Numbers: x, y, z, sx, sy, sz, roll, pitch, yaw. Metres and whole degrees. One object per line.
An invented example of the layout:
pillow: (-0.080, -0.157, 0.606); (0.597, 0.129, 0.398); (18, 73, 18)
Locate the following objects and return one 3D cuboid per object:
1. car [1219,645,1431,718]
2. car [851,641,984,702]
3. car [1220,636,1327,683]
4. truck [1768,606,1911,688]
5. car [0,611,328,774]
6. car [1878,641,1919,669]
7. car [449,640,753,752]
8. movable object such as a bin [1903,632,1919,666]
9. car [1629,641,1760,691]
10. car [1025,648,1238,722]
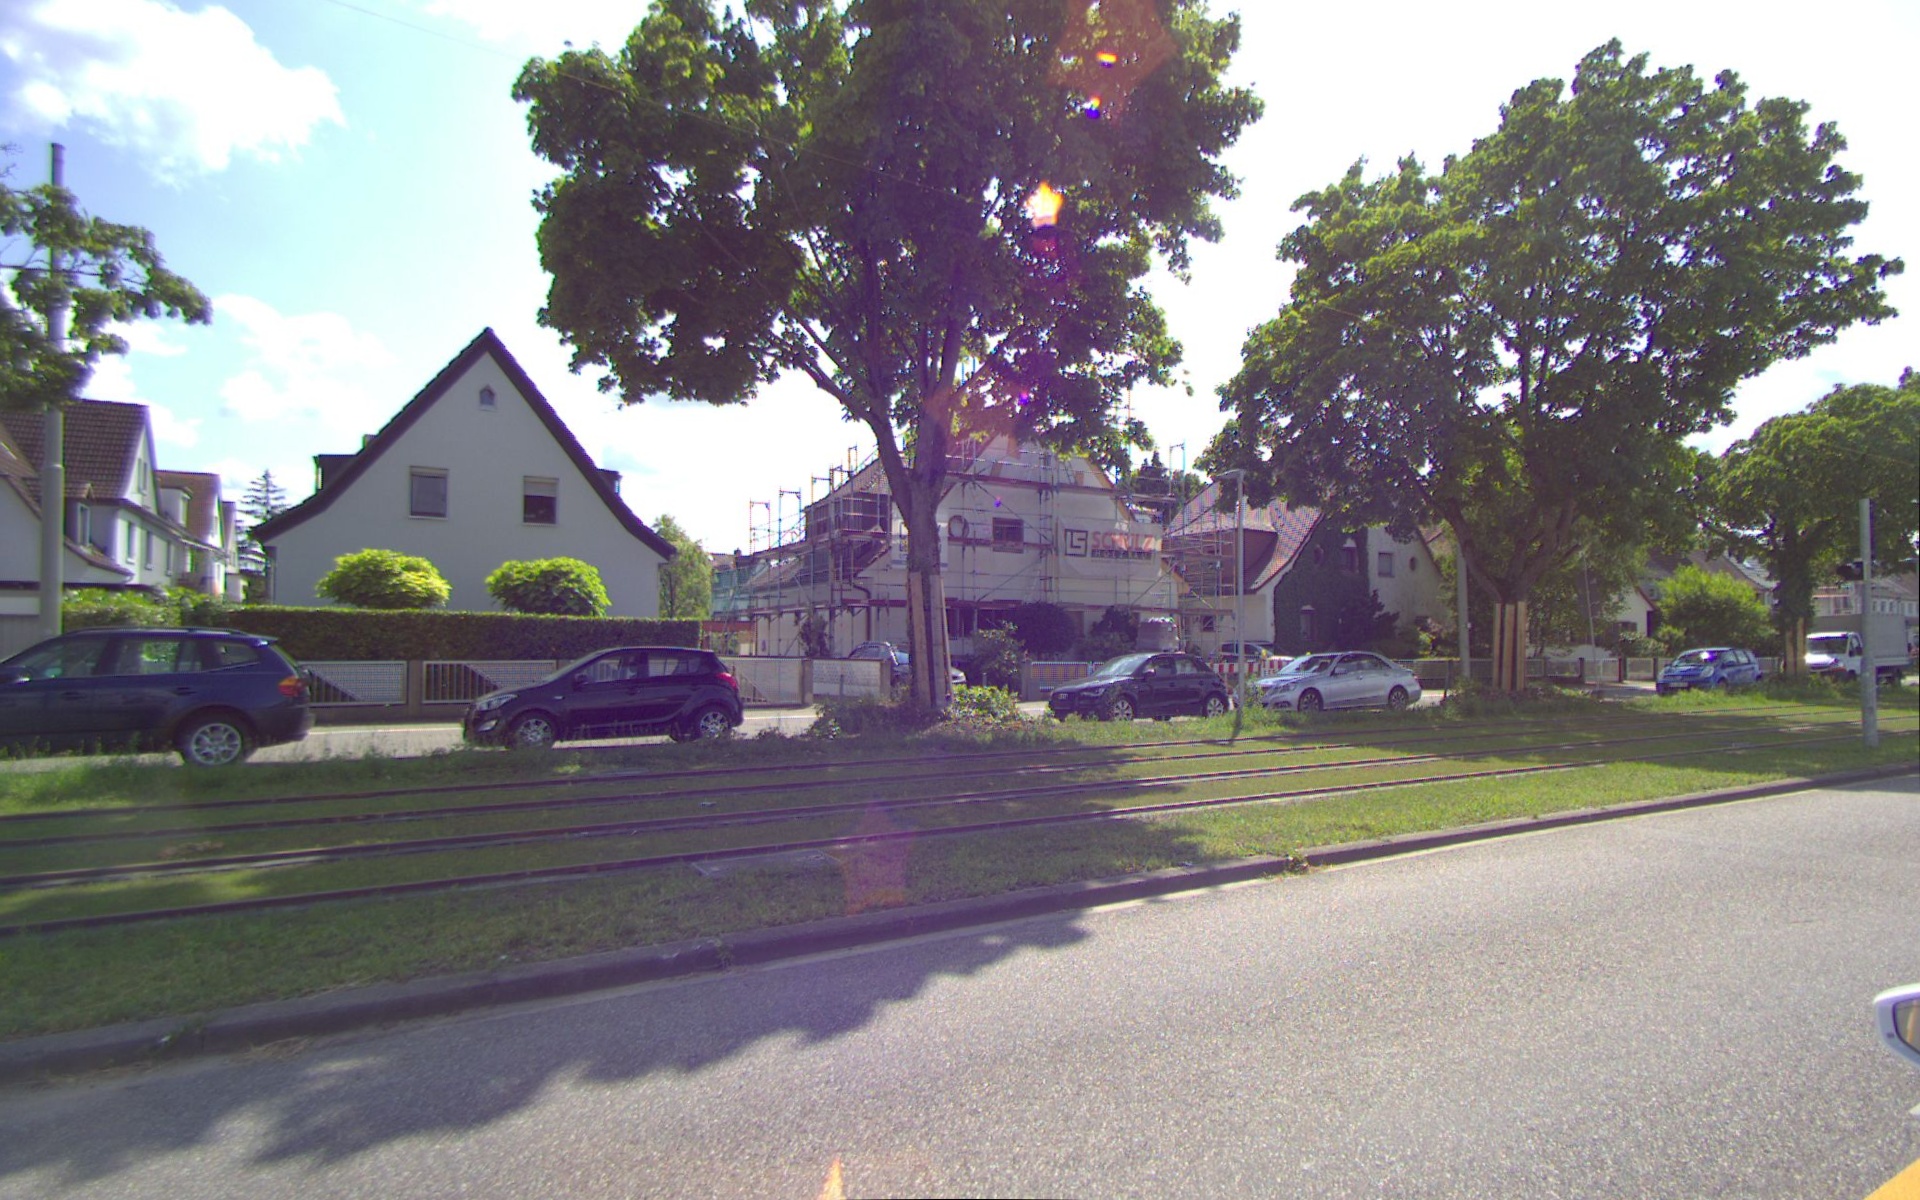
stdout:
car: (8.287, 1.818, 22.706); (4.881, 1.501, 1.797); (2, -4, -30)
car: (-1.227, 1.874, 26.897); (1.959, 1.419, 3.969); (3, -2, -29)
car: (11.968, 2.265, 38.516); (1.851, 1.705, 3.631); (2, -4, -30)
truck: (32.523, 1.752, 37.098); (6.203, 2.803, 1.985); (1, -5, -30)
car: (-10.057, 1.046, 11.830); (4.346, 1.713, 1.982); (3, -4, -34)
car: (60.572, 3.560, 64.418); (2.995, 1.744, 1.677); (2, -4, -30)
car: (-5.322, 1.388, 14.973); (3.954, 1.457, 1.985); (3, -5, -31)
movable object such as a bin: (72.414, 3.607, 73.871); (4.283, 2.481, 1.781); (-2, -3, 39)
car: (23.001, 2.052, 31.440); (3.956, 1.472, 1.983); (3, -4, -32)
car: (3.412, 1.687, 19.981); (3.808, 1.334, 1.985); (3, -6, -30)
